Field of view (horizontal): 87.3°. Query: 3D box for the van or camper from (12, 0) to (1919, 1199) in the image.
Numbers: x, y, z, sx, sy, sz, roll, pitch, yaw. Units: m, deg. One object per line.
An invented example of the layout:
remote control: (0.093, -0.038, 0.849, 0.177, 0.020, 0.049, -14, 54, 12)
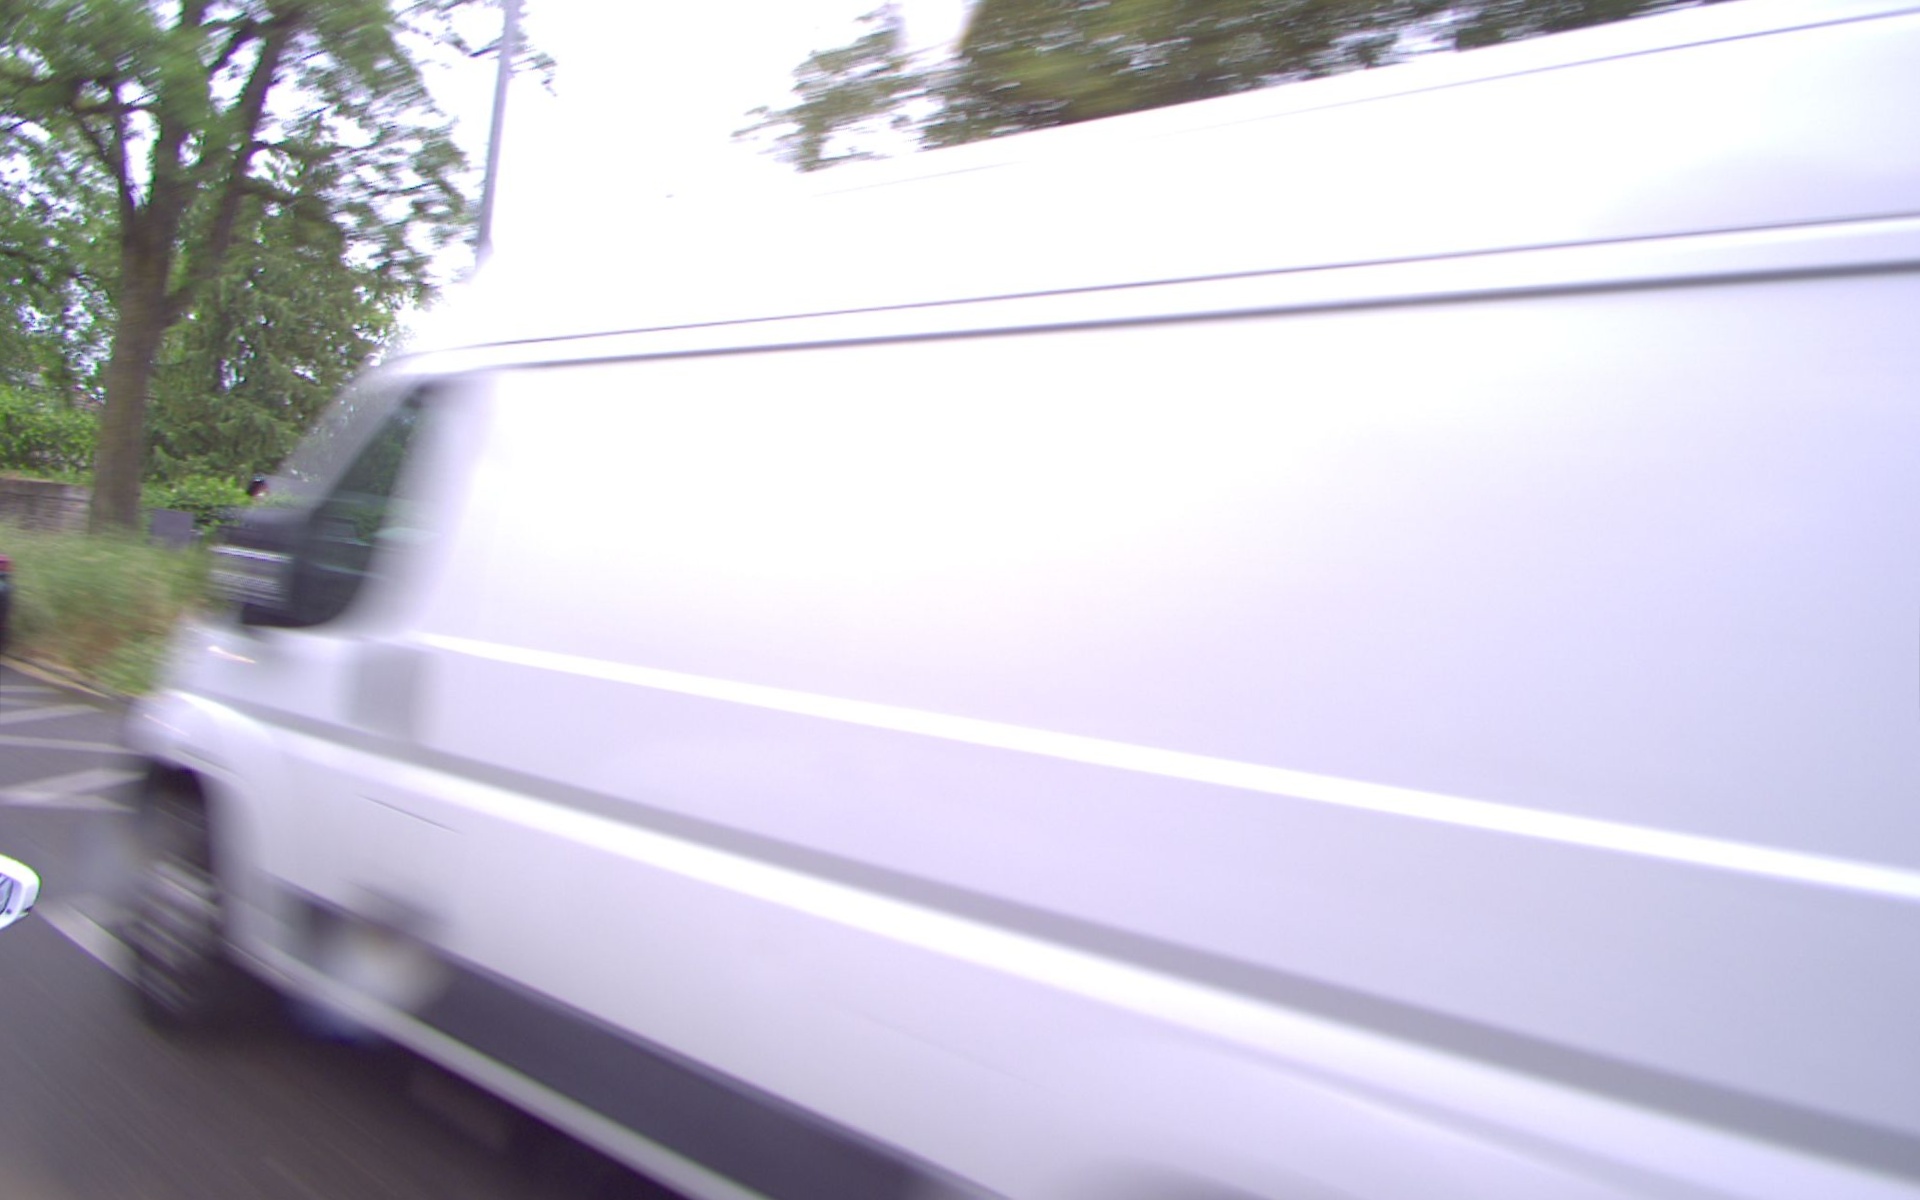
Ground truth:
van or camper: (-0.232, 0.242, 2.899, 5.256, 2.681, 2.083, 8, -1, 31)

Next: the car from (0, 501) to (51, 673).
car: (-10.472, -0.394, 9.337, 3.895, 1.496, 1.745, 8, -1, 29)

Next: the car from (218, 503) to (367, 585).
car: (-19.044, -1.616, 28.652, 4.185, 1.832, 1.832, 7, -1, 32)
